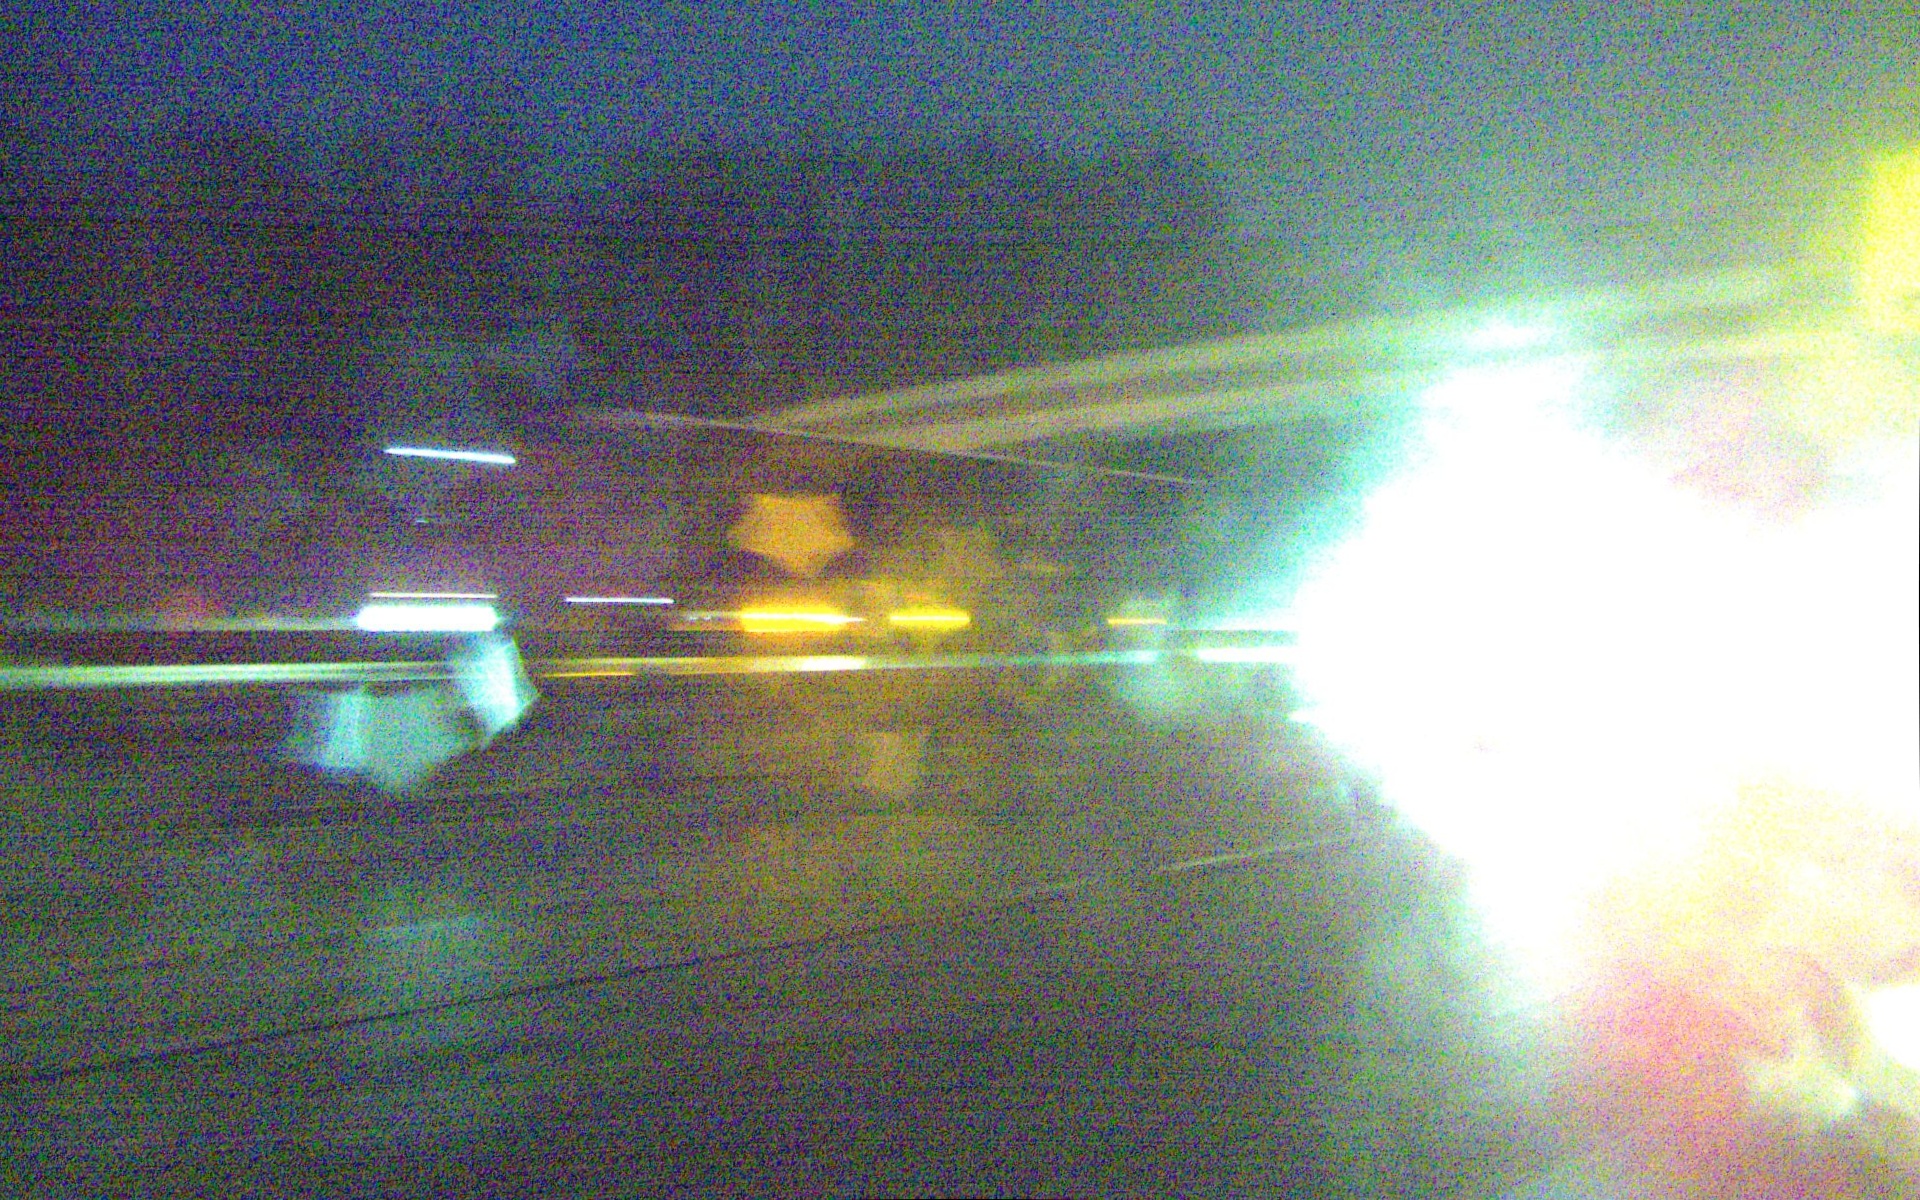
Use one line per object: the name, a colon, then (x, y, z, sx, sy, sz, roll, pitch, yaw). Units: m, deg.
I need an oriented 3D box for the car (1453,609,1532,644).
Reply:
car: (26.982, 1.352, 50.856, 4.155, 1.665, 1.885, 2, 0, -36)

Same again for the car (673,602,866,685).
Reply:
car: (-4.423, 0.995, 23.432, 3.957, 1.751, 1.982, 2, 0, -33)

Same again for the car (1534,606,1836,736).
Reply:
car: (10.285, 0.907, 14.139, 4.860, 1.537, 1.758, 1, 0, -32)

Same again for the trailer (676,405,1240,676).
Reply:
trailer: (0.583, -0.842, 21.193, 12.358, 4.516, 2.560, 2, 1, -33)

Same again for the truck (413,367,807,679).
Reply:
truck: (-5.841, -1.054, 17.028, 5.788, 4.463, 2.550, 2, 1, -33)
